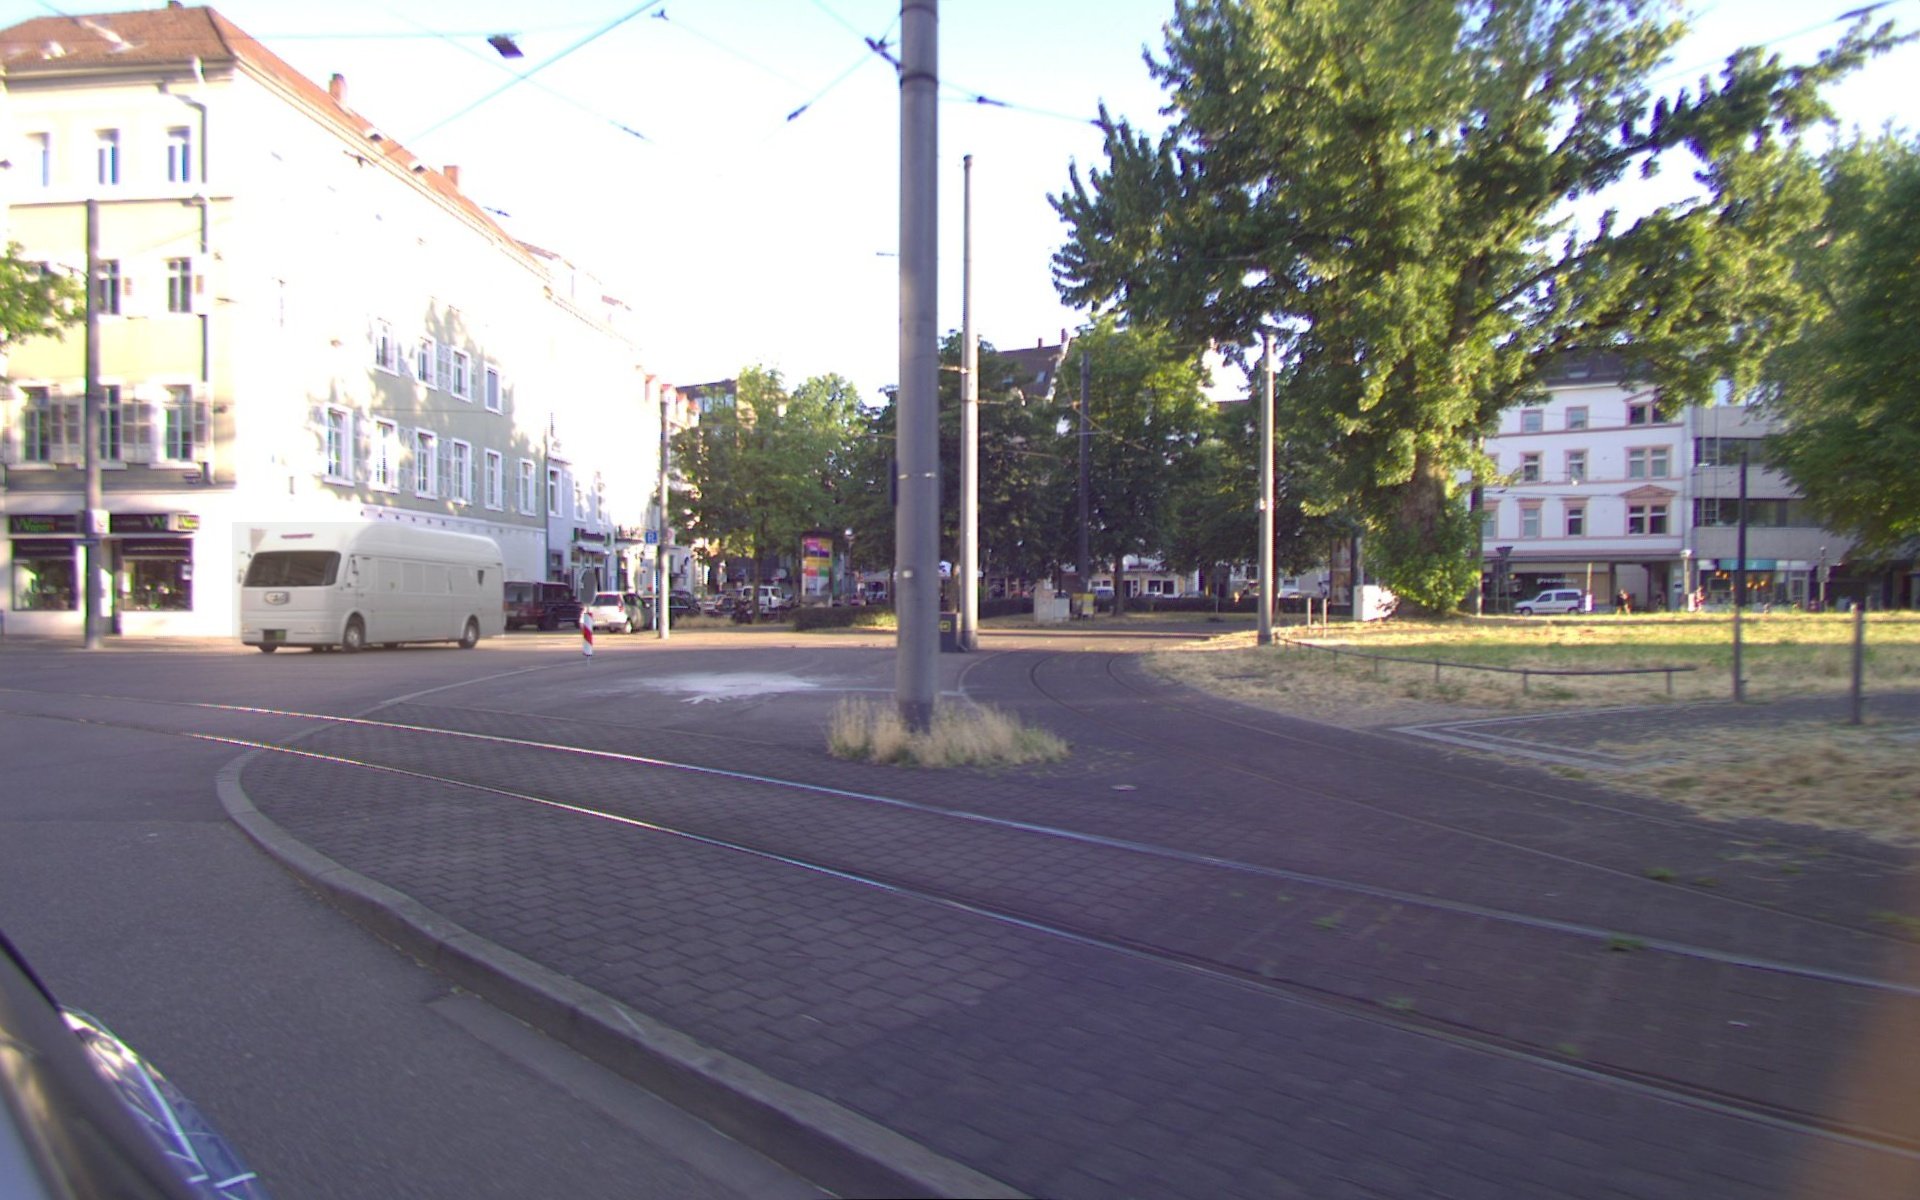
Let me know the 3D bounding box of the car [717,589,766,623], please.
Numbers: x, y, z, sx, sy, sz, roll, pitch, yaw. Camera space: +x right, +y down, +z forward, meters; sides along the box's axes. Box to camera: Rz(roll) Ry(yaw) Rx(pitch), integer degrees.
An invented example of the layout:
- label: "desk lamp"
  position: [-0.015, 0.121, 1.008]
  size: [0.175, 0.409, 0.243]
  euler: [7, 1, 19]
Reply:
- label: "car"
  position: [-11.537, 0.297, 53.651]
  size: [1.833, 1.719, 4.001]
  euler: [-1, 0, -1]

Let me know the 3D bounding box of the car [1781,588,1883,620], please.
- label: "car"
  position: [51.845, 0.254, 60.284]
  size: [4.186, 1.808, 1.923]
  euler: [-1, 0, 26]

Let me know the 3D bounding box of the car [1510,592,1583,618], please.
- label: "car"
  position: [38.846, 0.314, 67.132]
  size: [3.978, 1.676, 1.744]
  euler: [-1, 0, 26]

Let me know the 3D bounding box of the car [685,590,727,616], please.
- label: "car"
  position: [-16.779, 0.183, 66.983]
  size: [1.833, 1.655, 4.001]
  euler: [-1, 0, -1]

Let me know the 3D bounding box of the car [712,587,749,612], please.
- label: "car"
  position: [-16.473, -0.032, 72.751]
  size: [1.833, 1.767, 4.001]
  euler: [-1, 0, -1]

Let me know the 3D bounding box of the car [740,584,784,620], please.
- label: "car"
  position: [-11.573, 0.110, 59.346]
  size: [1.833, 2.014, 4.001]
  euler: [-1, 0, -1]

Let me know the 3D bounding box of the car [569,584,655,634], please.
- label: "car"
  position: [-12.704, 0.316, 37.159]
  size: [1.833, 1.719, 4.001]
  euler: [-1, 0, -1]

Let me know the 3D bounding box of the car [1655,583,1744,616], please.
- label: "car"
  position: [46.061, -0.037, 63.118]
  size: [4.186, 1.959, 1.744]
  euler: [-1, 0, 26]

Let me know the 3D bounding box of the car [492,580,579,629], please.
- label: "car"
  position: [-17.455, 0.171, 41.817]
  size: [1.971, 1.918, 4.001]
  euler: [-1, 0, -1]

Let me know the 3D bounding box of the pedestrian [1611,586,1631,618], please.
- label: "pedestrian"
  position: [36.773, 0.114, 56.295]
  size: [0.796, 1.714, 0.793]
  euler: [-1, 0, 28]

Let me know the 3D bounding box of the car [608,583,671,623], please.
- label: "car"
  position: [-16.105, 0.151, 51.110]
  size: [1.971, 1.918, 4.001]
  euler: [-1, 0, -1]

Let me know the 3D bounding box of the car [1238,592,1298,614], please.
- label: "car"
  position: [23.006, 0.213, 75.587]
  size: [3.983, 1.592, 1.779]
  euler: [-1, 0, 30]

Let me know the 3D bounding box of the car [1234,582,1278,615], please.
- label: "car"
  position: [18.902, -0.084, 64.793]
  size: [1.975, 2.029, 3.993]
  euler: [-1, 0, 6]

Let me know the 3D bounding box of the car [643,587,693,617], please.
- label: "car"
  position: [-17.157, 0.116, 59.659]
  size: [1.833, 1.719, 4.001]
  euler: [-1, 0, -1]
